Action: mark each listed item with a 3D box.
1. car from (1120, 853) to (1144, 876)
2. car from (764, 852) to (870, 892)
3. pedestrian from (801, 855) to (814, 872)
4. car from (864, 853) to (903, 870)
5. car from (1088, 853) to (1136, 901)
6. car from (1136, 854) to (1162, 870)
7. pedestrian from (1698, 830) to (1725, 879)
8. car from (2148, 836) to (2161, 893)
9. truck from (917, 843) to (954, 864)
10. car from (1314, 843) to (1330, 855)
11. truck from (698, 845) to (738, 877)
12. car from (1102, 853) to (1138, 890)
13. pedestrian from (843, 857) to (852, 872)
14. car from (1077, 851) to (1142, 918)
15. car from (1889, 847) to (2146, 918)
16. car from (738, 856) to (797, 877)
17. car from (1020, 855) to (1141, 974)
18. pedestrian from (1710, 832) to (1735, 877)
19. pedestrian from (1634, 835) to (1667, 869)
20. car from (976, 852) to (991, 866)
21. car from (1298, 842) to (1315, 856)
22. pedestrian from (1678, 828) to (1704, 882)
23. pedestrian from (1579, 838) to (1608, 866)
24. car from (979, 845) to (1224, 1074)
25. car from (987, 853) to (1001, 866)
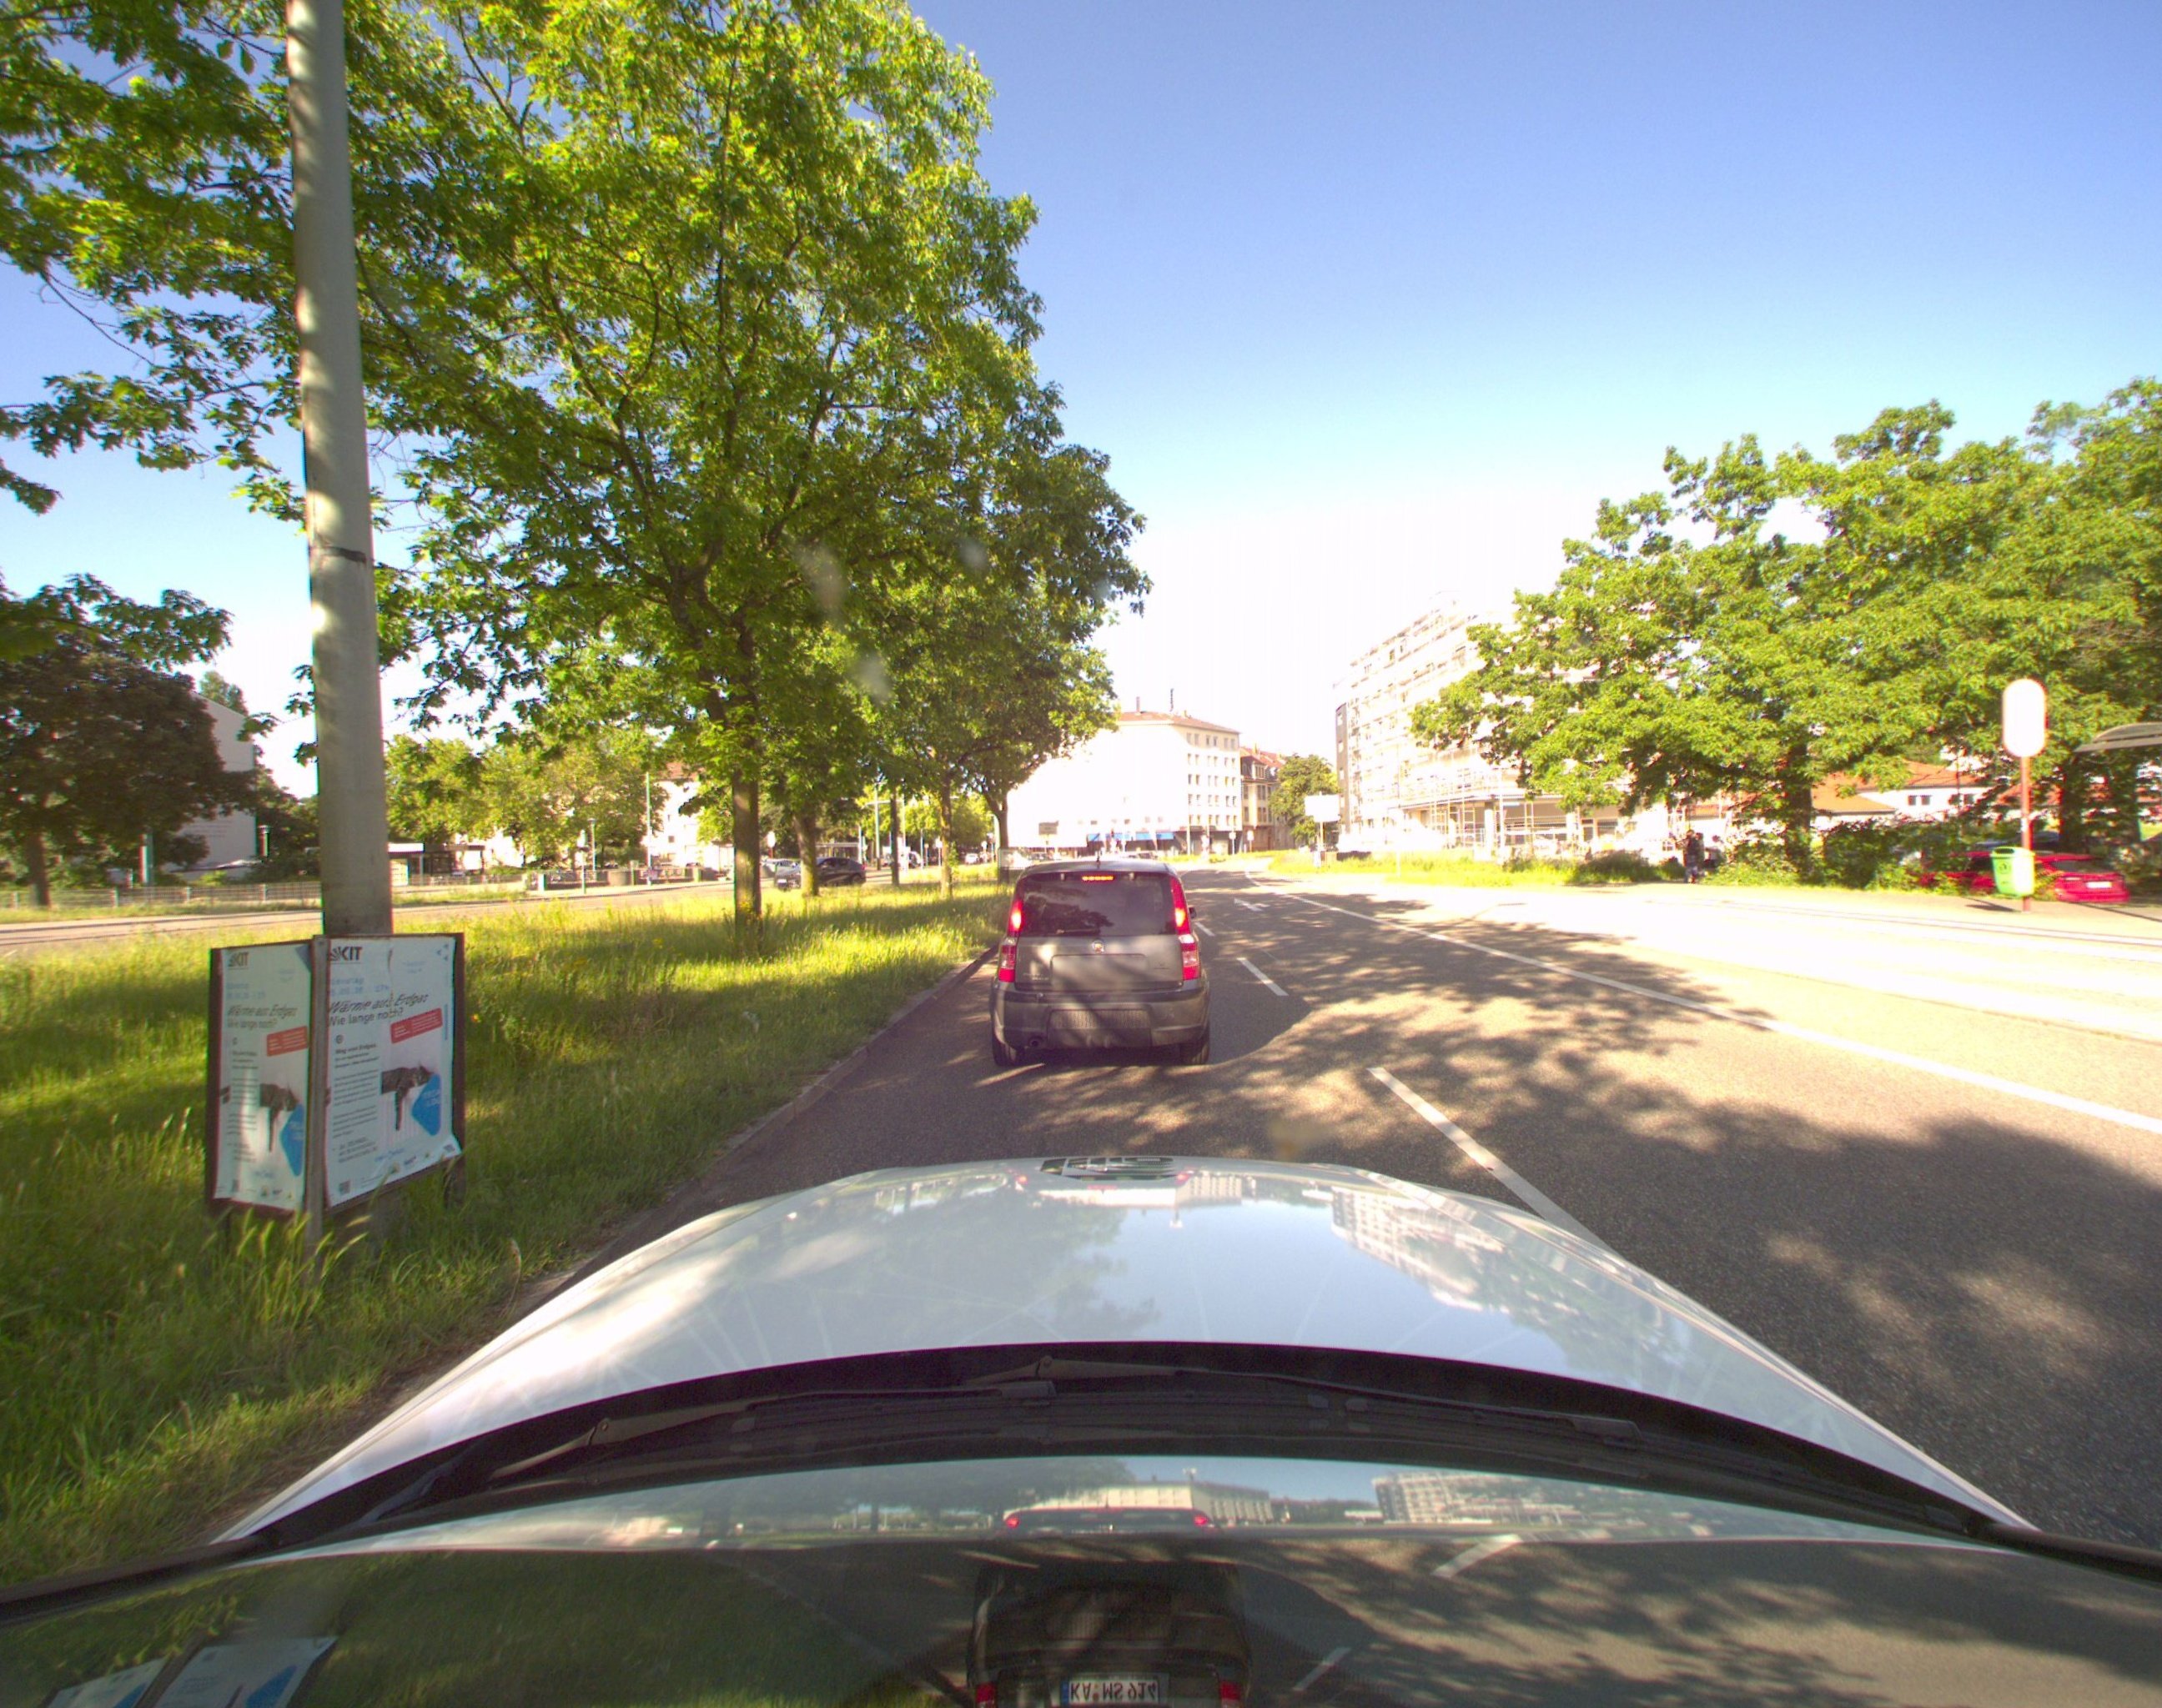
[{"bbox_3d":[3.094,0.614,49.679,1.351,1.281,2.877,-2,0,2],"label":"car"},{"bbox_3d":[-12.085,0.808,37.572,1.808,1.647,4.489,-2,0,33],"label":"car"},{"bbox_3d":[-26.340,0.912,78.465,0.910,1.607,0.802,-2,0,41],"label":"pedestrian"},{"bbox_3d":[-23.946,0.896,98.945,4.164,2.013,1.931,-2,0,-1],"label":"car"},{"bbox_3d":[1.029,0.730,27.399,1.458,1.424,3.383,-2,0,2],"label":"car"},{"bbox_3d":[4.864,0.578,57.717,1.133,1.064,2.735,-2,0,19],"label":"car"},{"bbox_3d":[19.163,0.016,24.746,0.516,1.447,0.595,-2,0,28],"label":"pedestrian"},{"bbox_3d":[29.862,0.254,20.179,1.911,1.486,3.725,-2,0,-17],"label":"car"},{"bbox_3d":[-23.009,-0.138,128.572,5.425,3.168,2.358,-2,0,30],"label":"truck"},{"bbox_3d":[27.625,-0.586,93.428,1.514,1.314,3.304,-2,0,20],"label":"car"},{"bbox_3d":[-33.077,0.636,74.204,2.012,2.805,3.951,-2,0,-44],"label":"truck"},{"bbox_3d":[1.600,0.695,33.968,1.351,1.449,3.267,-2,0,2],"label":"car"},{"bbox_3d":[-21.810,0.956,75.965,0.411,1.391,0.630,-2,0,28],"label":"pedestrian"},{"bbox_3d":[0.723,0.701,20.735,1.458,1.508,3.506,-2,0,2],"label":"car"},{"bbox_3d":[21.986,0.600,19.376,1.747,1.486,3.743,-2,0,-2],"label":"car"},{"bbox_3d":[-27.320,1.073,71.068,1.974,1.684,4.348,-2,0,40],"label":"car"},{"bbox_3d":[0.048,0.750,11.764,1.458,1.401,3.395,-2,0,2],"label":"car"},{"bbox_3d":[20.897,0.017,26.549,0.516,1.447,0.595,-2,0,28],"label":"pedestrian"},{"bbox_3d":[28.115,-0.104,40.213,0.893,1.653,0.979,-2,0,-26],"label":"pedestrian"},{"bbox_3d":[-14.843,0.714,124.161,1.988,2.013,3.997,-2,0,-2],"label":"car"},{"bbox_3d":[24.914,-0.535,89.998,1.669,1.449,3.588,-2,0,18],"label":"car"},{"bbox_3d":[18.529,0.016,24.736,0.516,1.612,0.595,-2,0,28],"label":"pedestrian"},{"bbox_3d":[27.767,-0.104,44.147,0.896,1.447,0.958,-2,0,-24],"label":"pedestrian"},{"bbox_3d":[0.204,0.706,7.536,1.622,1.508,4.002,-2,0,2],"label":"car"},{"bbox_3d":[-14.262,0.898,133.871,1.988,2.013,3.997,-2,0,-2],"label":"car"}]
